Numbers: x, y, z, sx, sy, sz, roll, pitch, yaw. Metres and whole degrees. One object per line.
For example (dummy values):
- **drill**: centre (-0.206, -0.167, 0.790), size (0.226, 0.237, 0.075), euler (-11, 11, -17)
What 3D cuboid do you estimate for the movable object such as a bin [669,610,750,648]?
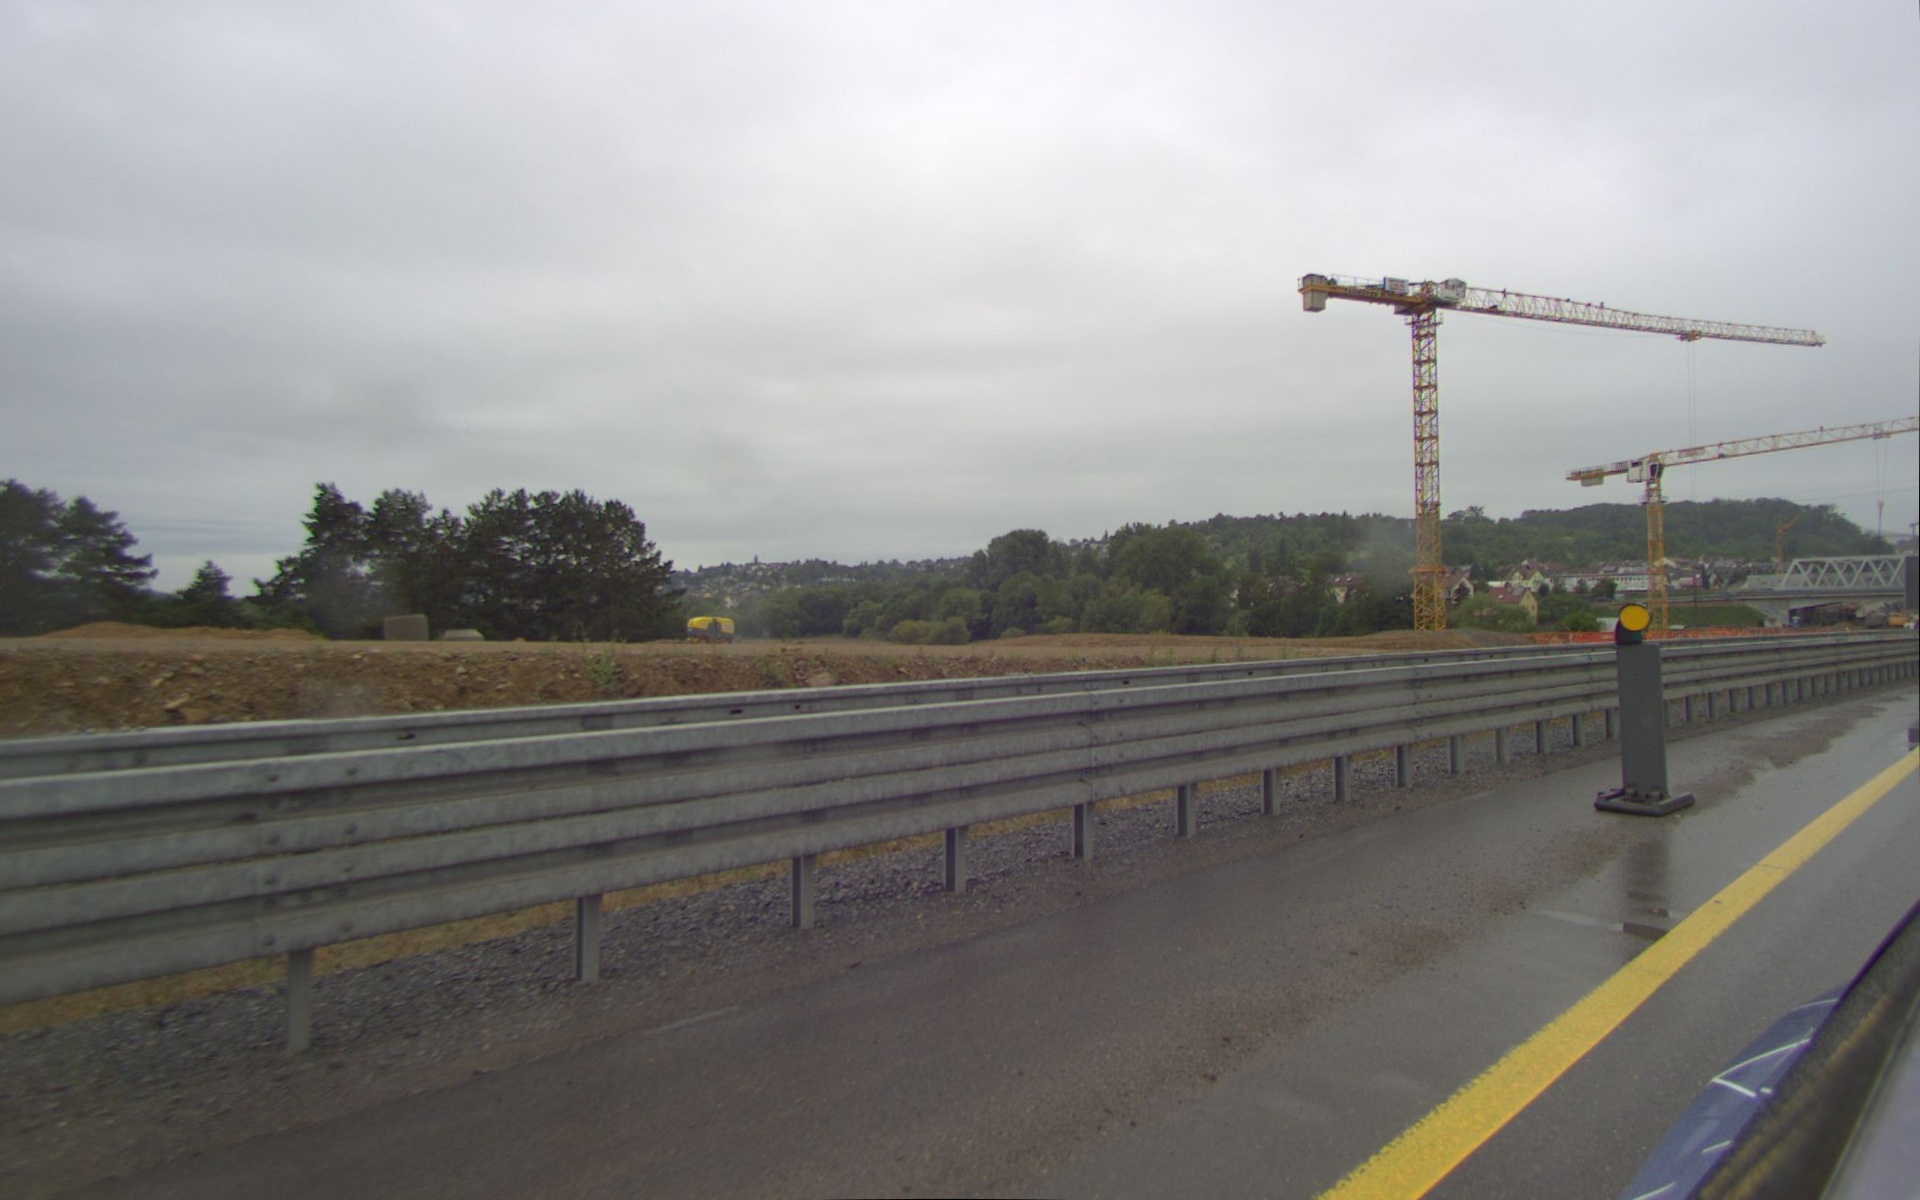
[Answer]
- **movable object such as a bin**: centre (-9.453, 1.078, 38.323), size (1.388, 1.317, 2.663), euler (0, 0, 45)
